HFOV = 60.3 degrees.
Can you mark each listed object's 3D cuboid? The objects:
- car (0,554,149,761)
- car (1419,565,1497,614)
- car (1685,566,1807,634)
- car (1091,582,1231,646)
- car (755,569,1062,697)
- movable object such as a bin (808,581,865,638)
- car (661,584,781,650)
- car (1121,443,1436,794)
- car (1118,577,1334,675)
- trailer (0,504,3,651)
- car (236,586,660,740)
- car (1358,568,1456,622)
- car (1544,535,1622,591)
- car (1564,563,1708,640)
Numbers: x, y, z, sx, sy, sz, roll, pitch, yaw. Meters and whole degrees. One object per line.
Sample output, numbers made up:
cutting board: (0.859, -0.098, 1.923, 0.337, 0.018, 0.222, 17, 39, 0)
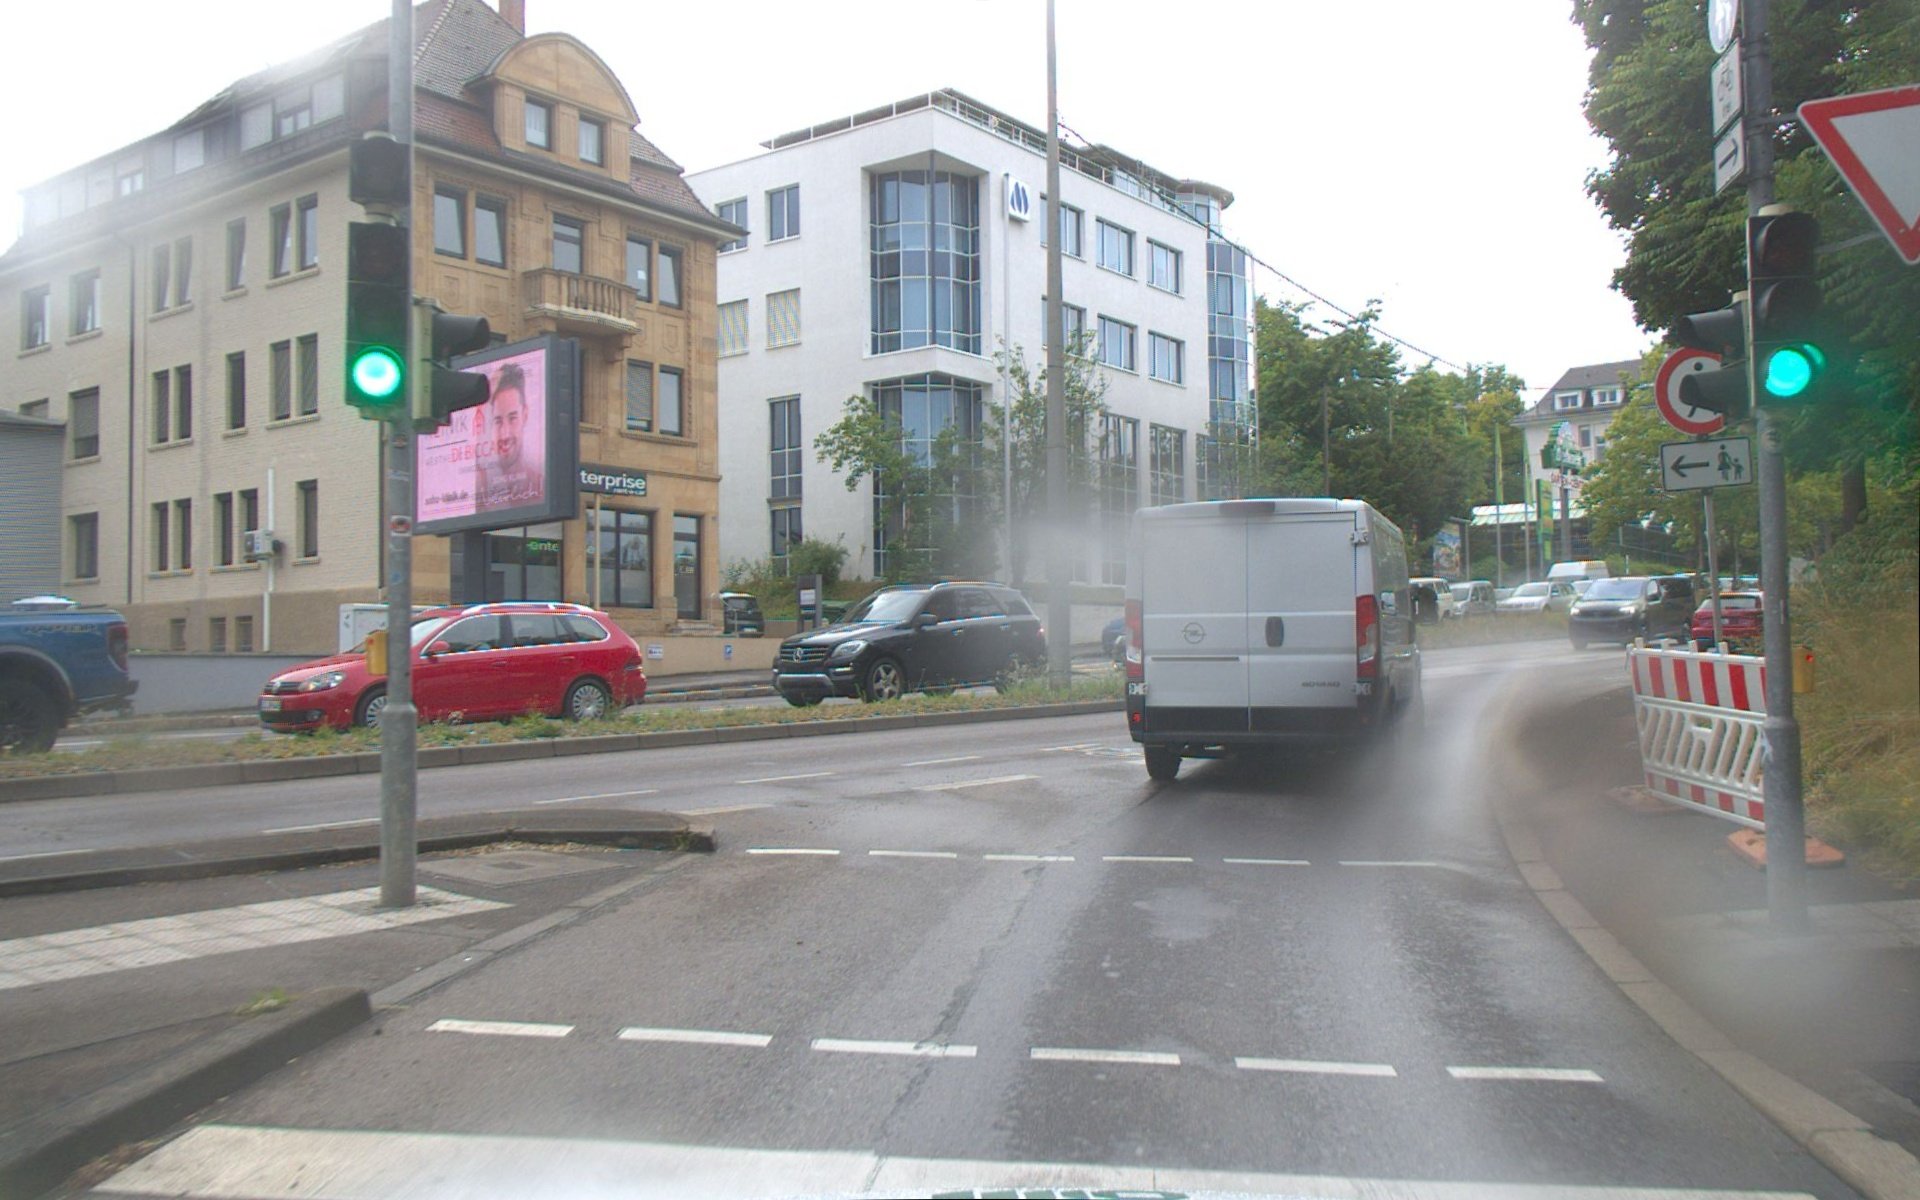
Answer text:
car: (-10.136, 0.556, 14.463, 1.905, 1.850, 5.139, -3, -2, 42)
car: (19.360, -0.411, 64.201, 1.567, 1.725, 3.763, -3, 0, 39)
car: (17.969, 0.028, 37.757, 1.668, 1.451, 3.348, -1, -2, 41)
car: (5.704, 0.375, 46.397, 1.661, 1.561, 4.650, -3, 0, 39)
car: (-0.669, 0.459, 24.741, 1.926, 1.727, 4.597, -3, -2, 42)
movable object such as a bin: (-3.484, 0.287, 46.738, 1.223, 1.568, 1.036, -2, -2, 36)
car: (-6.668, 0.497, 46.099, 2.993, 1.705, 1.708, -3, -3, 37)
car: (3.027, 0.094, 14.738, 2.007, 2.560, 4.945, 2, 1, 19)
car: (4.949, 0.520, 30.245, 1.663, 1.633, 4.701, -3, -3, 41)
trailer: (-19.544, -0.269, 29.255, 6.990, 2.471, 2.382, -3, -3, 41)
car: (-5.760, 0.724, 19.039, 1.779, 1.558, 4.416, -3, -3, 41)
car: (16.455, -0.188, 60.745, 1.743, 1.776, 4.562, -3, 0, 39)
car: (29.628, -1.759, 78.565, 1.930, 2.486, 5.634, -3, 0, 36)
car: (18.164, 0.018, 44.312, 1.985, 1.899, 5.012, -3, -1, 41)
